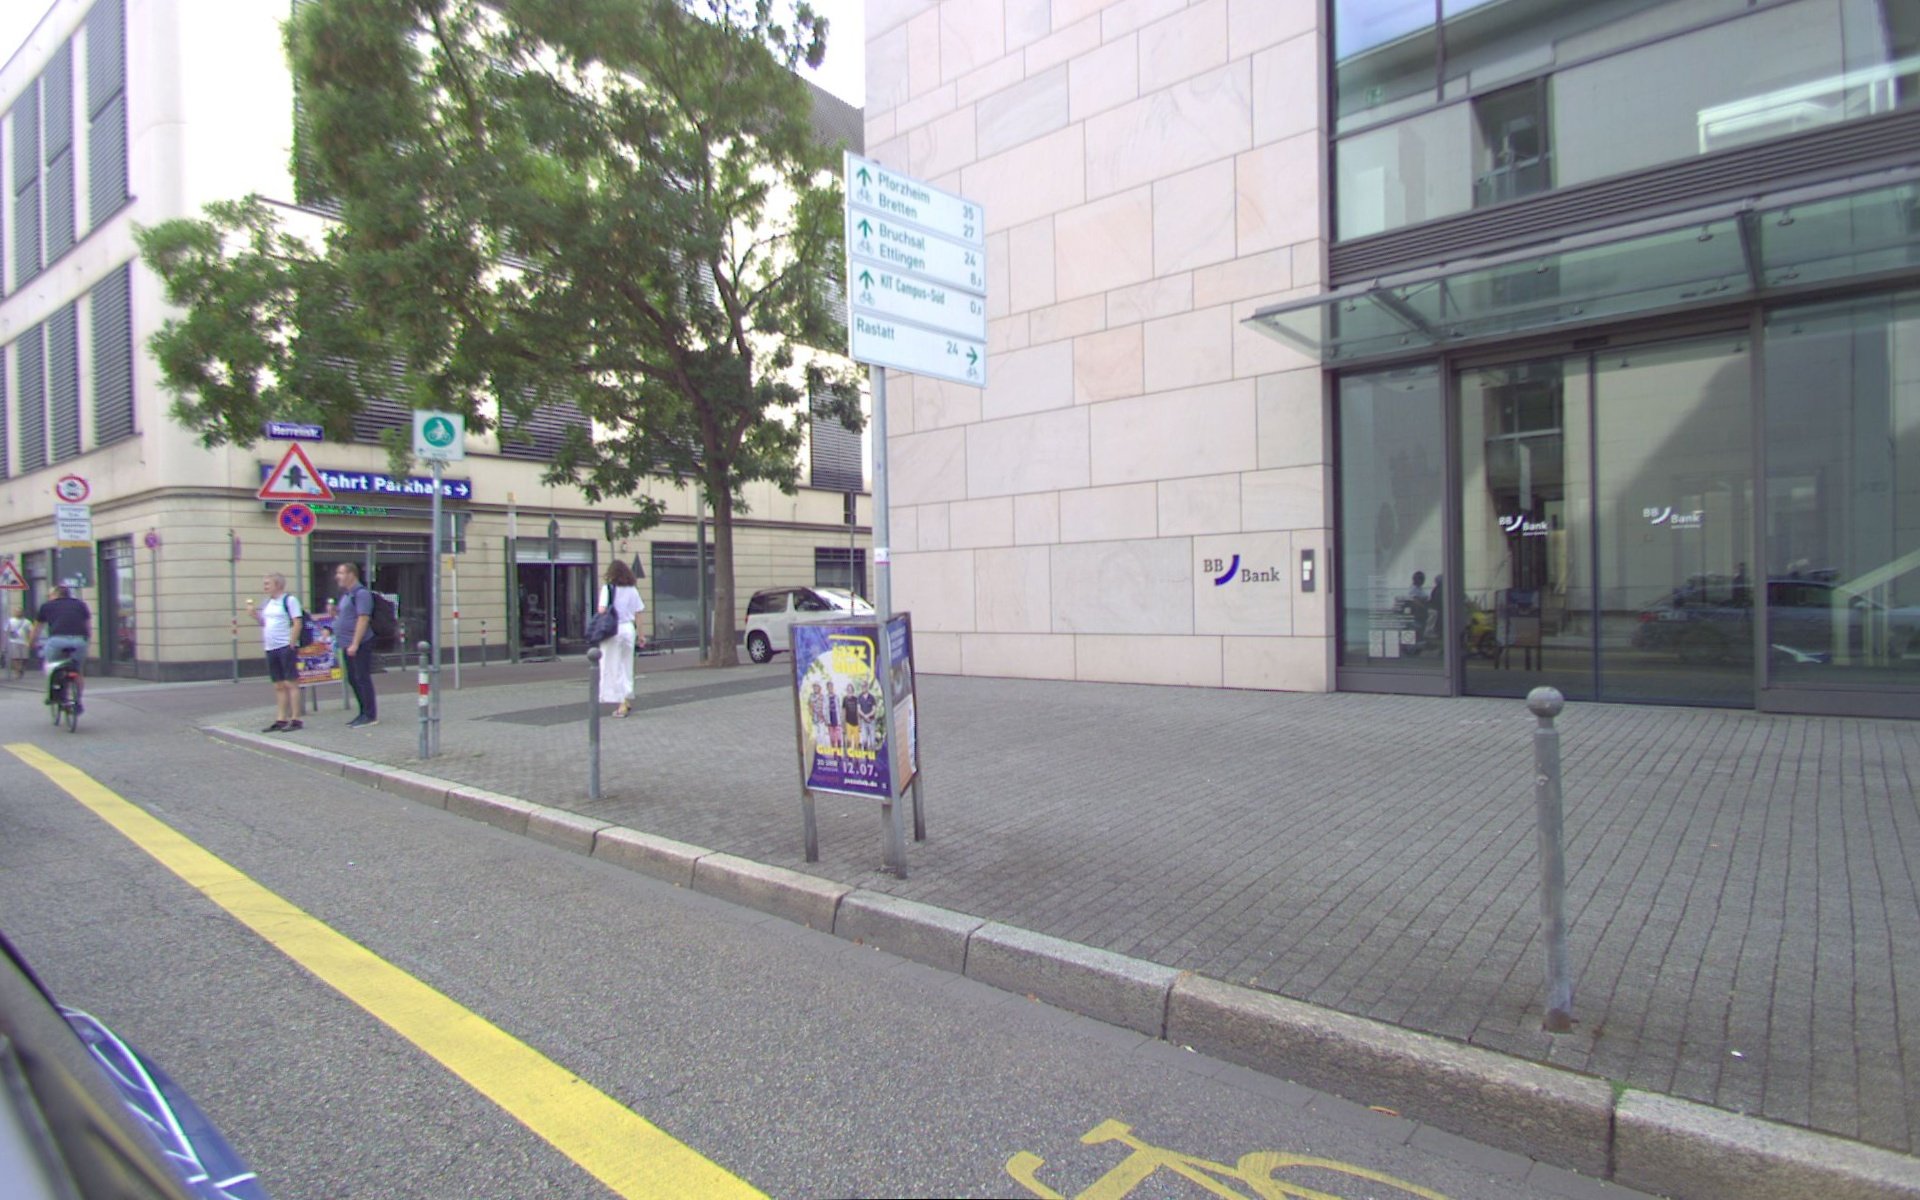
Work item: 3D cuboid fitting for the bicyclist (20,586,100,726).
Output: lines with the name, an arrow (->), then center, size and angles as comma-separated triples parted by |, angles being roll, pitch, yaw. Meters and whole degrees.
bicyclist -> -11.196, 0.682, 12.582 | 0.940, 1.666, 0.635 | -1, -3, 45

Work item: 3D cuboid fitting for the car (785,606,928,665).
car -> -3.046, 0.997, 30.512 | 1.813, 1.593, 4.310 | -1, 0, 38

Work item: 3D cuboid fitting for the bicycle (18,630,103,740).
bicycle -> -11.199, 1.007, 12.579 | 1.954, 1.250, 0.639 | -1, -3, 45

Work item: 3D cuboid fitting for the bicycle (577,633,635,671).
bicycle -> -9.216, 1.341, 26.405 | 0.595, 0.840, 1.719 | -5, 1, 11

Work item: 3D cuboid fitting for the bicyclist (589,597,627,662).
bicyclist -> -9.219, 0.770, 26.541 | 0.616, 1.631, 0.642 | -3, 1, 11

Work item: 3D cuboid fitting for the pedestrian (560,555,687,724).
pedestrian -> -3.684, 0.398, 11.094 | 0.909, 1.721, 0.868 | -1, 4, 40

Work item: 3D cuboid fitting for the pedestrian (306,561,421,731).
pedestrian -> -6.761, 0.502, 11.485 | 0.753, 1.827, 0.738 | -2, 3, 29

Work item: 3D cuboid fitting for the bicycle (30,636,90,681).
bicycle -> -23.413, 1.500, 26.305 | 2.539, 1.052, 0.684 | -1, 0, 37

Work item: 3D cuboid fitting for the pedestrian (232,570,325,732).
pedestrian -> -7.787, 0.564, 11.564 | 0.651, 1.778, 0.637 | -2, -1, 29

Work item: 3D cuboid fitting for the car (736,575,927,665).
car -> -2.896, 0.471, 22.478 | 3.957, 1.706, 1.876 | -5, -3, 37

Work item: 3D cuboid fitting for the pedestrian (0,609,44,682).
pedestrian -> -24.525, 1.165, 26.180 | 1.058, 1.778, 0.883 | -1, 3, 34
